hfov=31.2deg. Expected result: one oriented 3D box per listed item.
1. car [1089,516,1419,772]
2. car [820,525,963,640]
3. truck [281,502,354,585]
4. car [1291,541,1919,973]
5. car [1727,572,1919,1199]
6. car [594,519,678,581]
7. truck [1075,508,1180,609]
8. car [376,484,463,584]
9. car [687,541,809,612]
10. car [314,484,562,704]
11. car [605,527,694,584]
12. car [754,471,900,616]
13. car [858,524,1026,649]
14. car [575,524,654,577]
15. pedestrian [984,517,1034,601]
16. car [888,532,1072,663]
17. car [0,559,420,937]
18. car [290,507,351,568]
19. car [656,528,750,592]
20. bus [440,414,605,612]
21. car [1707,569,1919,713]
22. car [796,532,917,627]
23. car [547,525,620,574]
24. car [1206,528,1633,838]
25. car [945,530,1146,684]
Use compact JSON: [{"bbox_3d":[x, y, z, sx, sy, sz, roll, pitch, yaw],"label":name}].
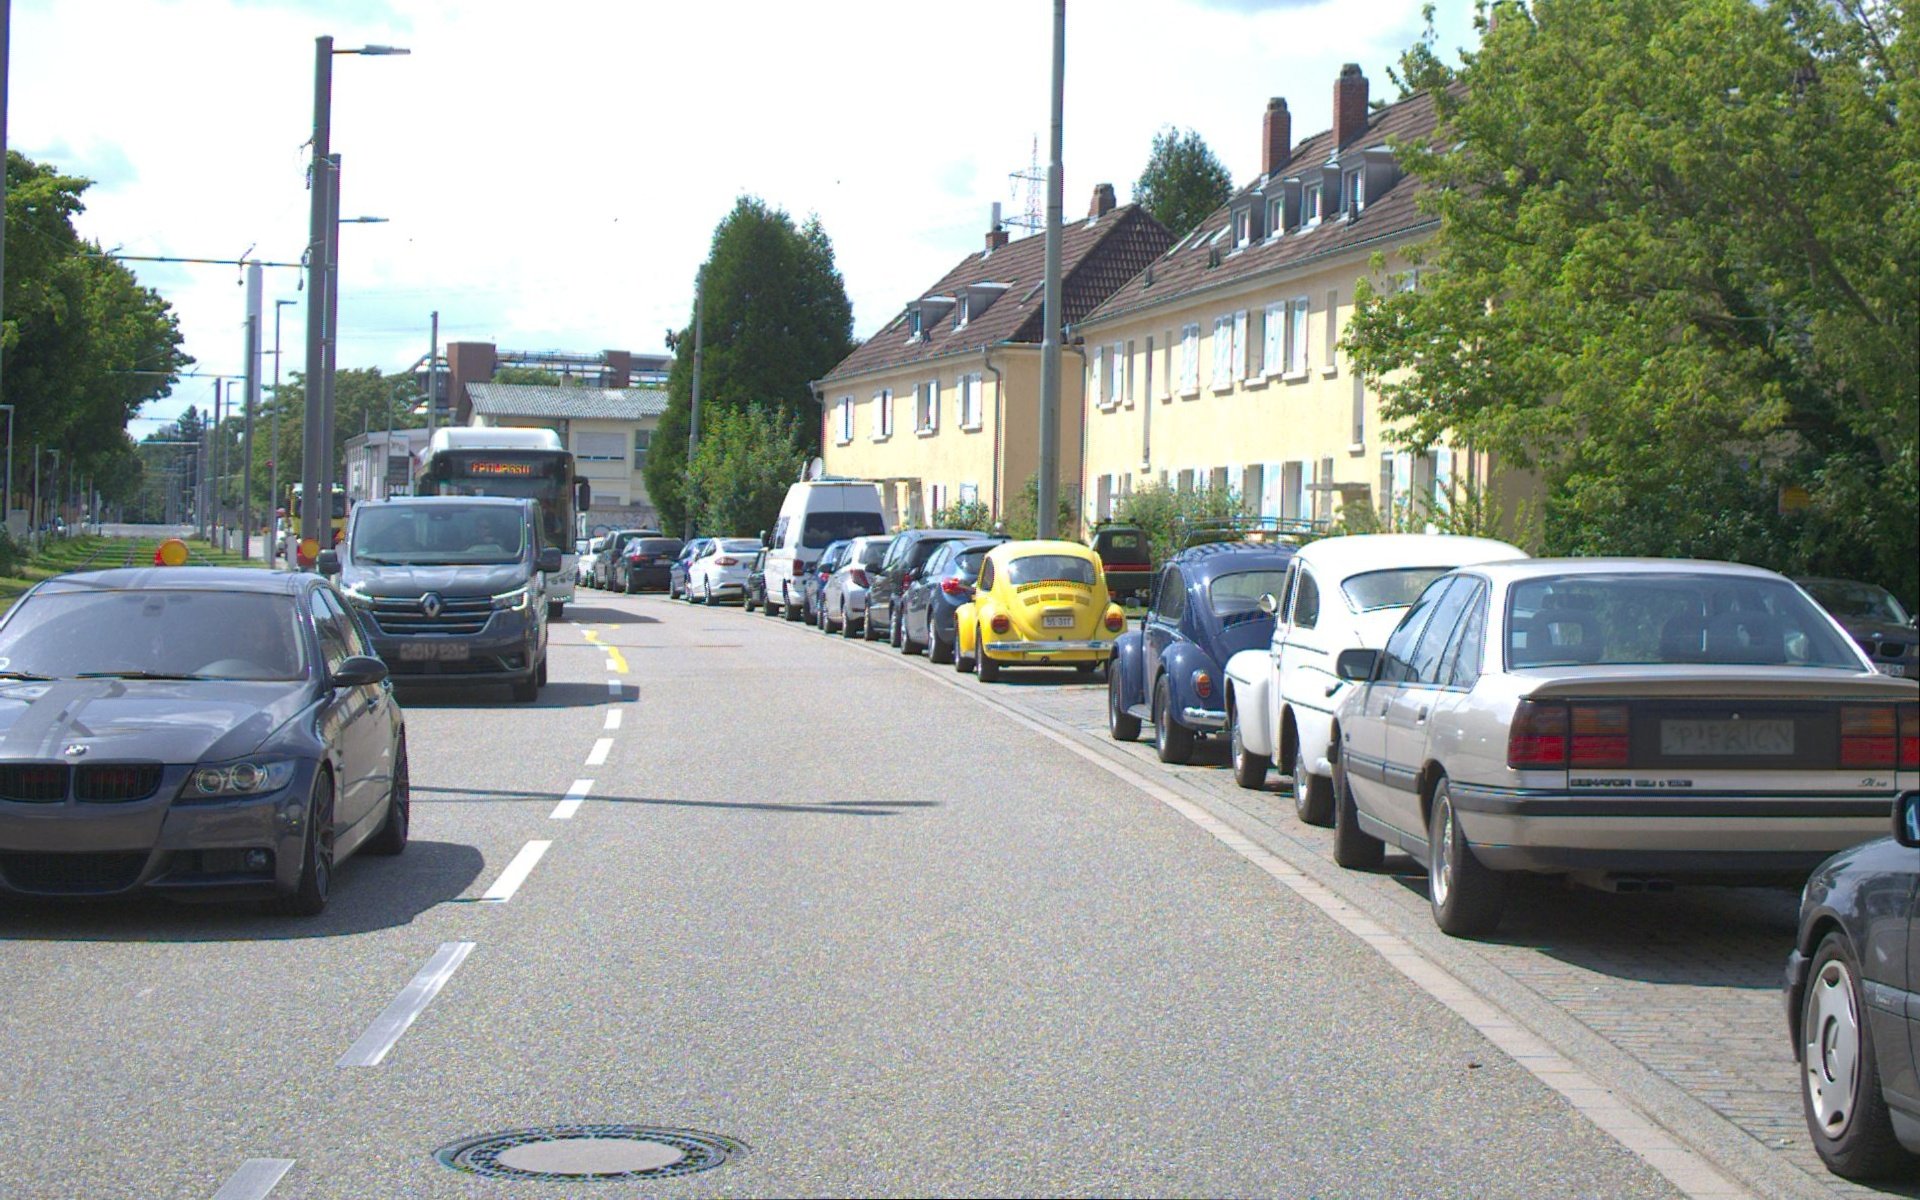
[{"bbox_3d":[1.995,0.247,24.494,1.548,1.635,4.247,1,1,-6],"label":"car"},{"bbox_3d":[-1.064,-0.296,51.568,1.636,1.597,4.030,2,1,-8],"label":"car"},{"bbox_3d":[-27.618,-2.454,147.613,2.559,3.447,7.152,-1,1,-15],"label":"truck"},{"bbox_3d":[2.587,0.505,14.276,1.706,1.444,4.836,1,1,-3],"label":"car"},{"bbox_3d":[2.866,0.713,6.580,1.577,1.444,4.454,1,1,-3],"label":"car"},{"bbox_3d":[-8.816,-1.378,93.294,1.763,1.637,4.001,-1,1,-12],"label":"car"},{"bbox_3d":[2.908,-0.724,59.921,1.346,1.683,2.442,1,1,-8],"label":"truck"},{"bbox_3d":[-13.971,-1.706,88.883,2.102,2.435,5.573,1,1,-9],"label":"car"},{"bbox_3d":[-4.549,-0.515,73.091,1.798,1.453,4.767,-1,1,-13],"label":"car"},{"bbox_3d":[-5.010,-0.104,33.628,1.955,1.959,5.294,1,1,-4],"label":"car"},{"bbox_3d":[-7.994,-1.169,88.267,1.763,1.412,4.001,-1,1,-12],"label":"car"},{"bbox_3d":[-2.433,-1.023,61.602,1.929,2.472,5.519,0,1,-9],"label":"car"},{"bbox_3d":[-0.292,-0.217,47.582,1.636,1.597,3.933,2,1,-10],"label":"car"},{"bbox_3d":[-9.881,-1.430,98.094,1.763,1.471,4.001,-1,1,-12],"label":"car"},{"bbox_3d":[0.976,-0.815,68.558,0.853,1.646,0.637,2,1,-7],"label":"pedestrian"},{"bbox_3d":[0.198,-0.067,42.245,1.636,1.477,4.125,2,1,-8],"label":"car"},{"bbox_3d":[-3.479,0.543,15.167,1.724,1.384,4.122,1,1,-3],"label":"car"},{"bbox_3d":[-19.332,-1.911,103.992,1.734,1.767,4.310,2,1,-10],"label":"car"},{"bbox_3d":[-5.970,-0.944,79.552,1.620,1.412,4.001,-1,1,-12],"label":"car"},{"bbox_3d":[-8.457,-1.643,65.348,2.635,3.401,12.252,0,1,-9],"label":"bus"},{"bbox_3d":[9.092,0.394,36.050,1.636,1.350,4.088,1,1,1],"label":"car"},{"bbox_3d":[-1.724,-0.356,56.293,1.536,1.440,3.738,2,1,-8],"label":"car"},{"bbox_3d":[-11.425,-1.532,104.137,1.763,1.435,4.001,-1,1,-12],"label":"car"},{"bbox_3d":[2.453,0.372,19.371,1.577,1.507,4.460,1,1,-3],"label":"car"},{"bbox_3d":[0.861,0.028,36.943,1.636,1.477,3.932,-1,2,-6],"label":"car"}]
